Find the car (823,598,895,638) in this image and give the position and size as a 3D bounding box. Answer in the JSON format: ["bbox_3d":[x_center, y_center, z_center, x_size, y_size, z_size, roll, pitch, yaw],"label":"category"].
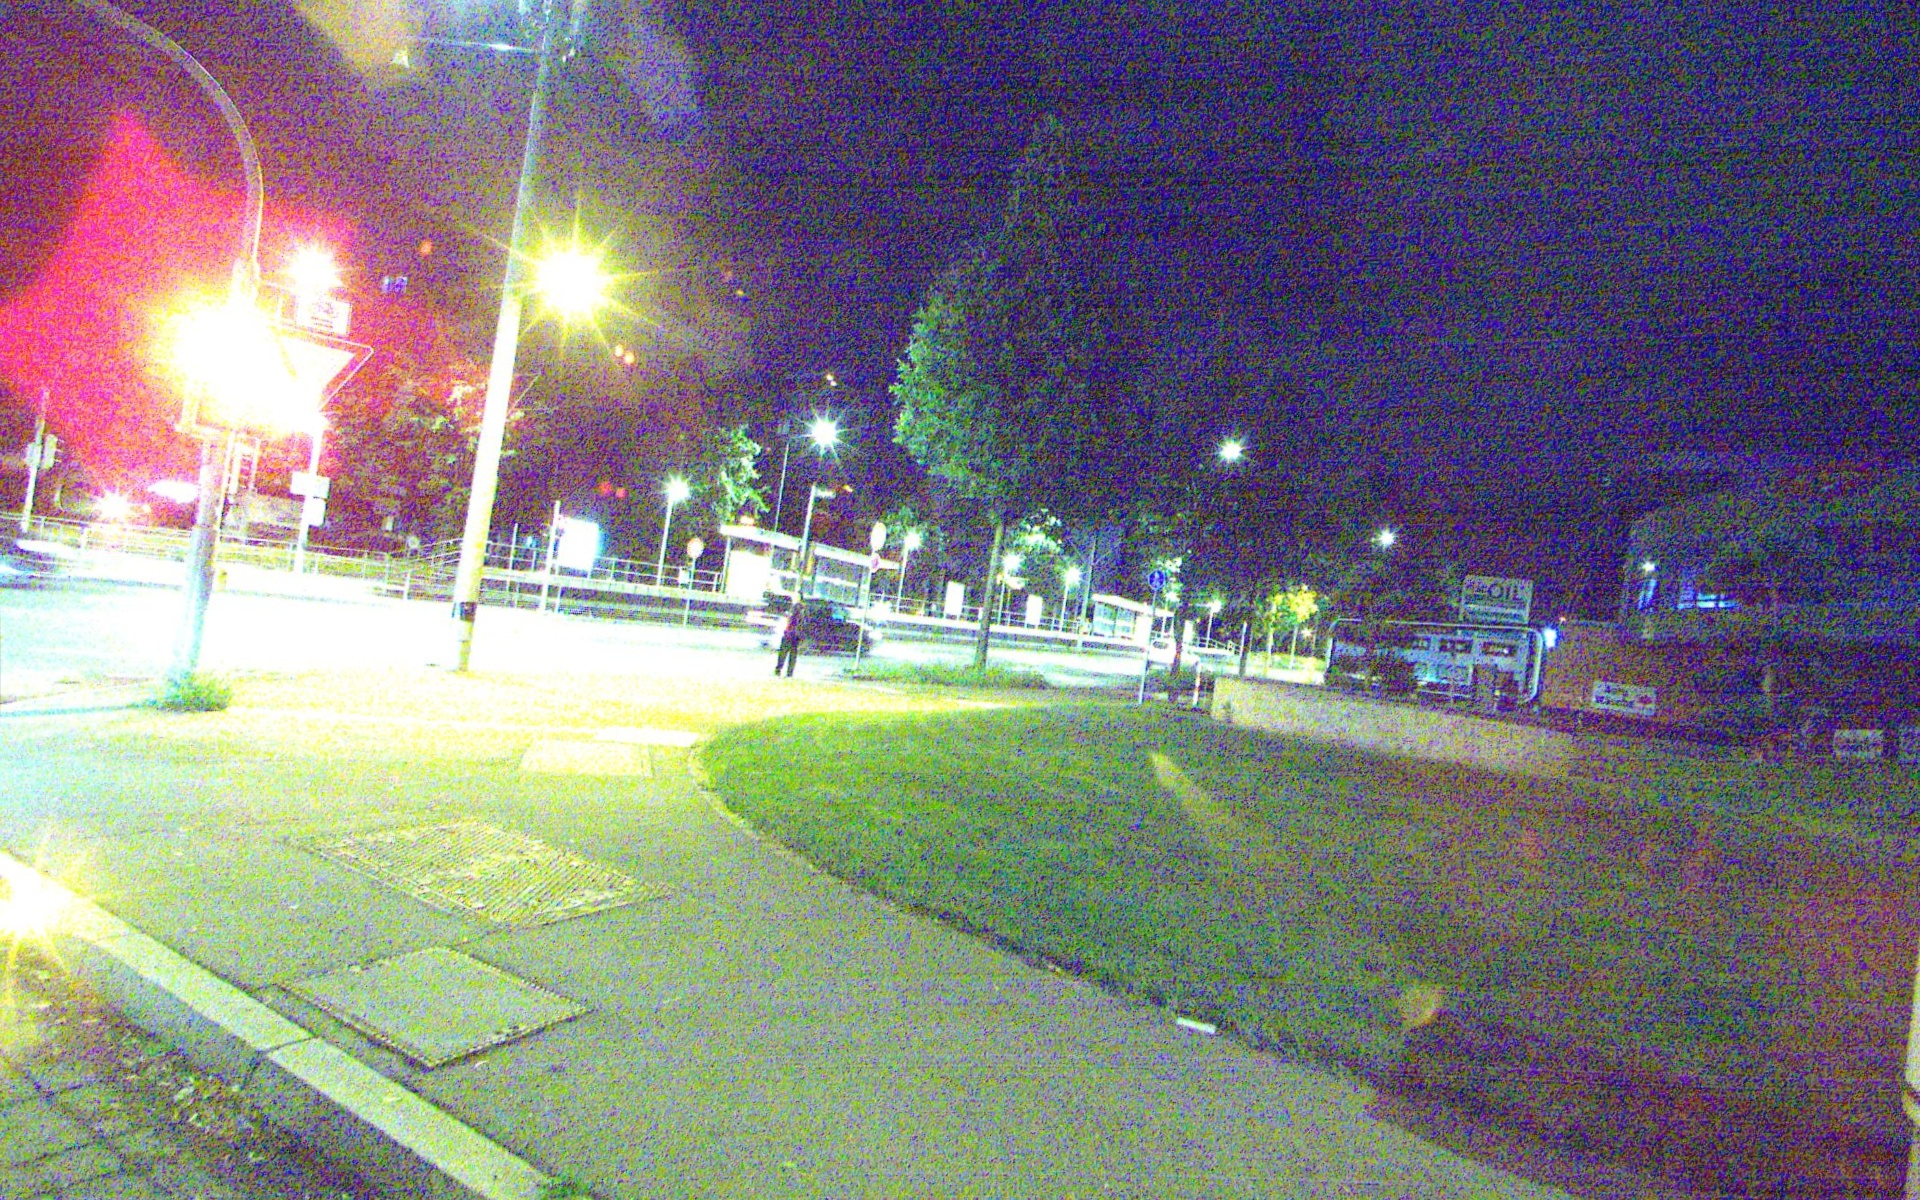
[{"bbox_3d":[-5.938,1.107,59.523,1.970,2.039,3.985,6,0,36],"label":"car"}]

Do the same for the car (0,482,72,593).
[{"bbox_3d":[-16.887,-1.240,15.474,1.834,1.680,4.448,8,0,35],"label":"car"}]

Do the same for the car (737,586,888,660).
[{"bbox_3d":[-4.262,0.730,29.744,1.781,1.671,4.346,10,1,34],"label":"car"}]

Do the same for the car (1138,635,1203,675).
[{"bbox_3d":[11.252,2.956,53.587,1.844,1.703,4.288,9,0,32],"label":"car"}]

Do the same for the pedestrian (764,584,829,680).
[{"bbox_3d":[-3.172,0.615,19.565,0.820,1.767,0.755,5,1,31],"label":"pedestrian"}]
